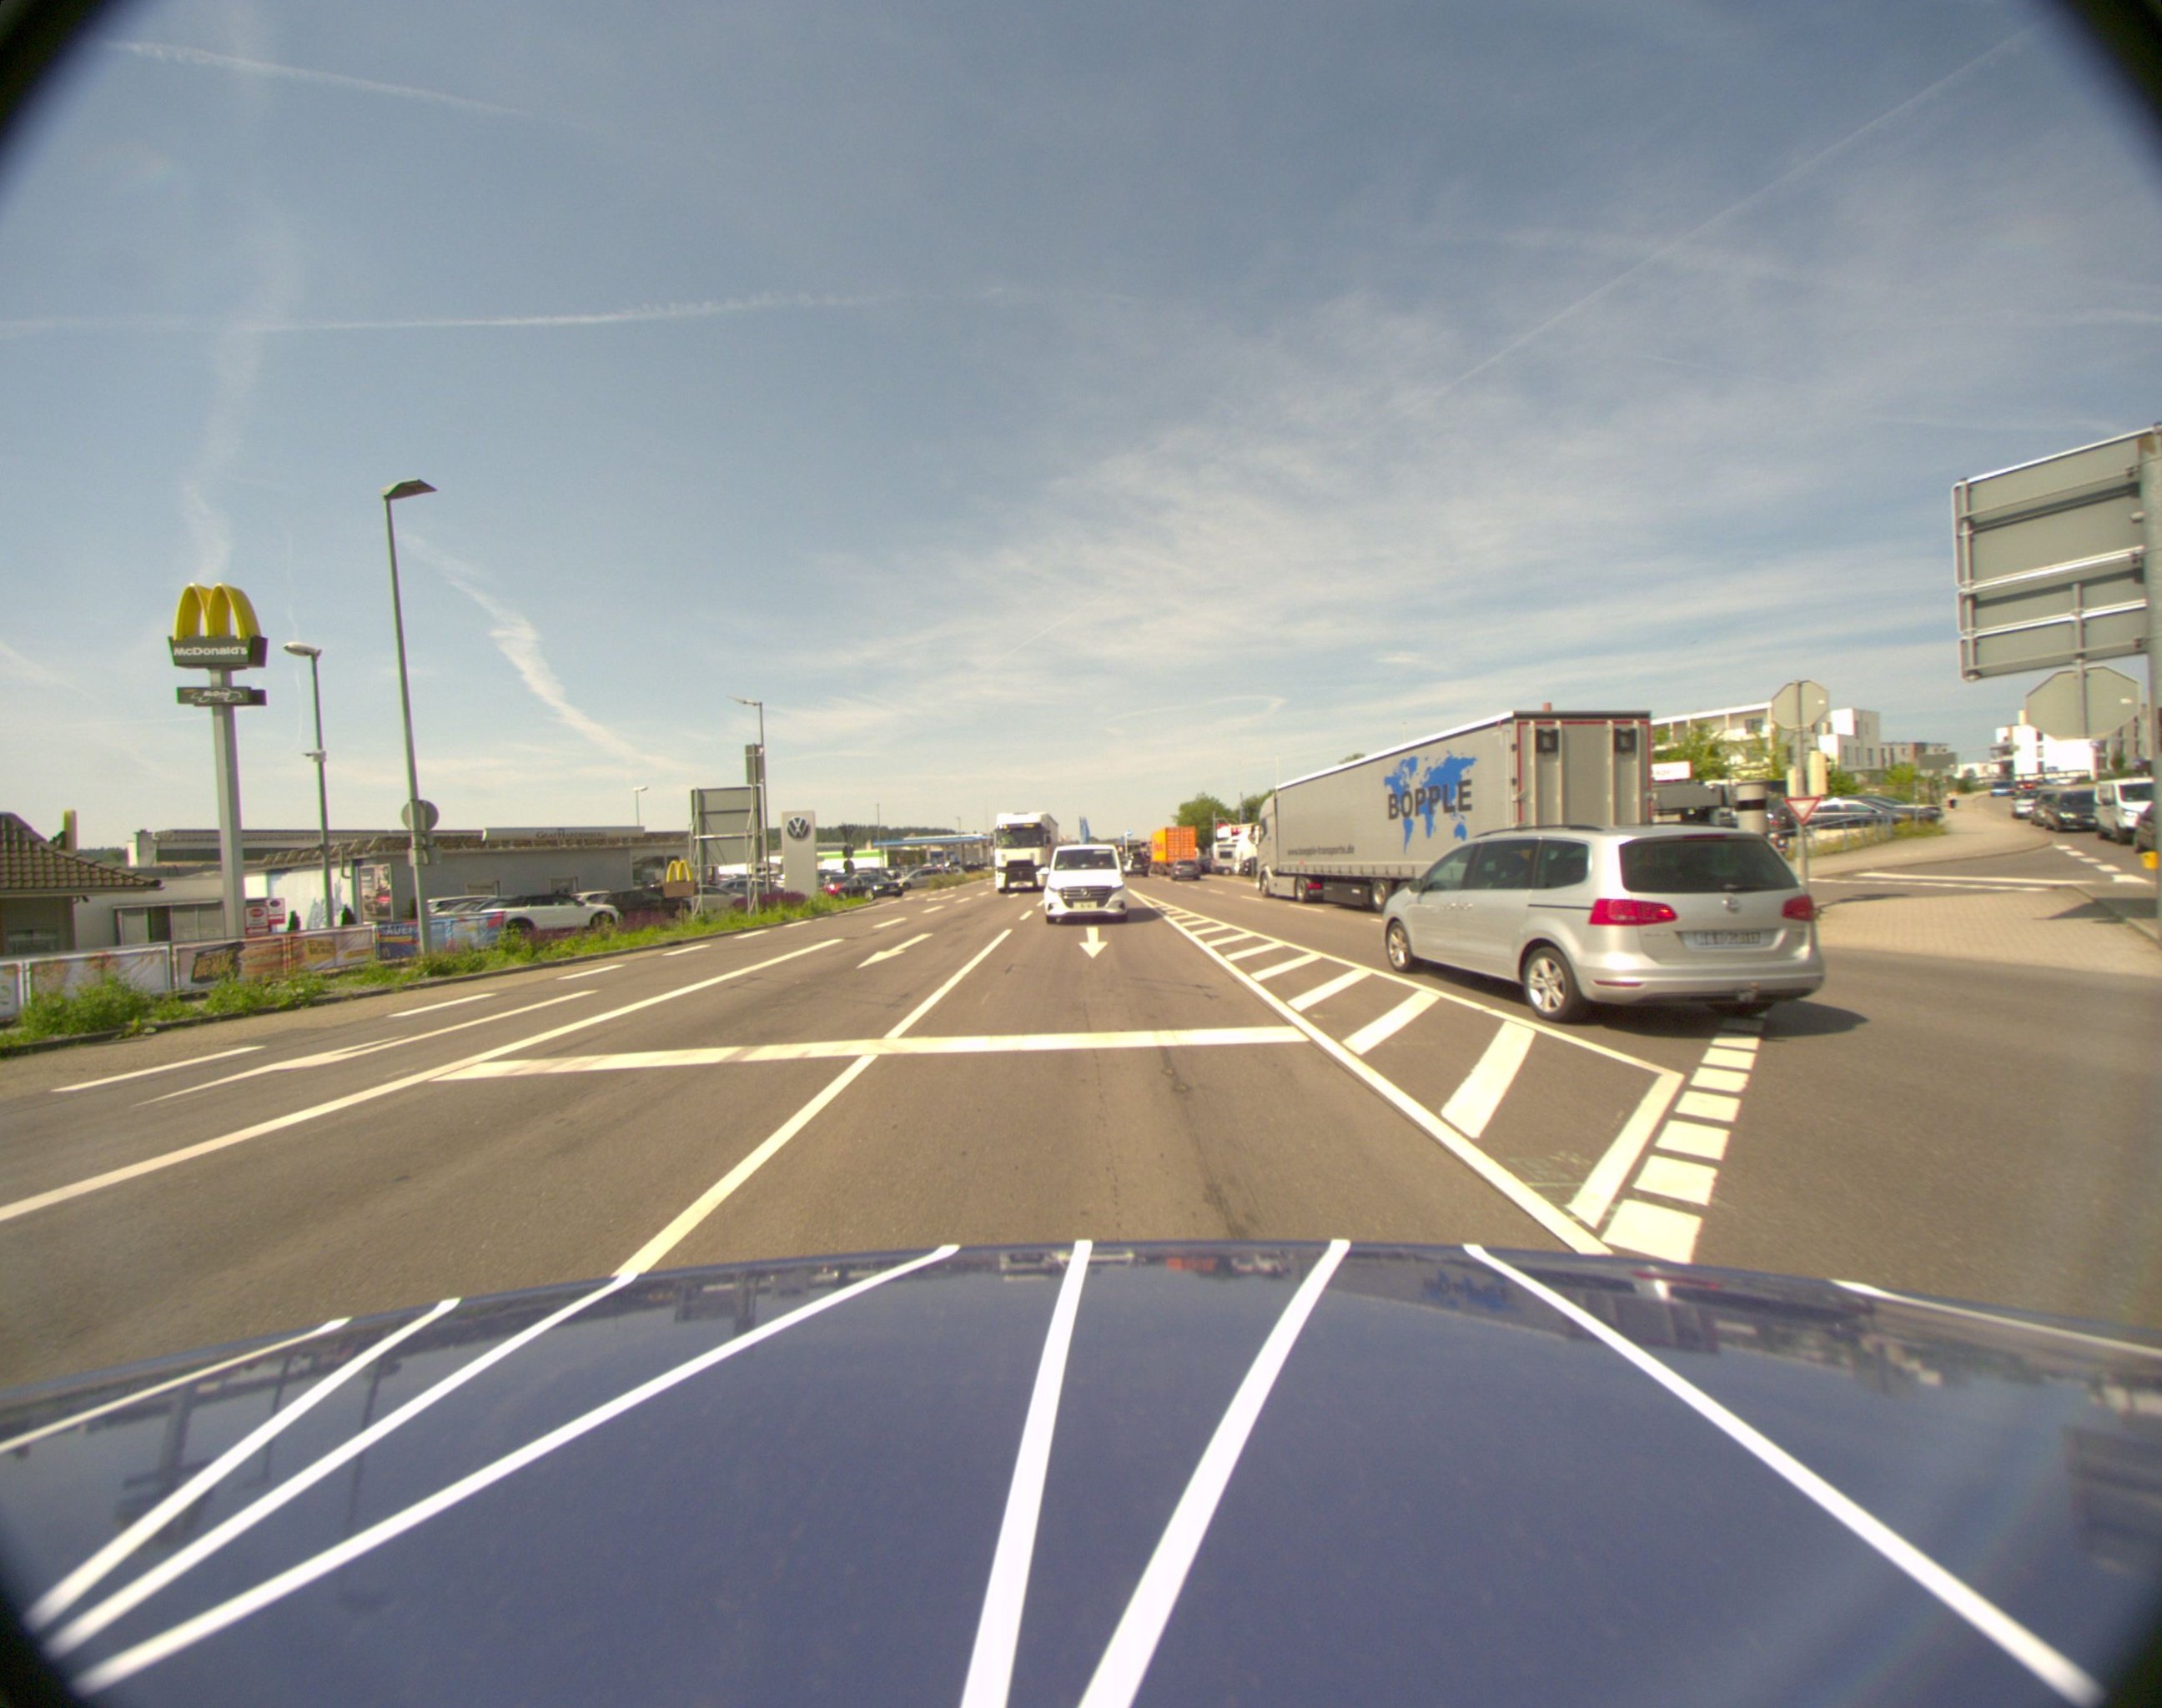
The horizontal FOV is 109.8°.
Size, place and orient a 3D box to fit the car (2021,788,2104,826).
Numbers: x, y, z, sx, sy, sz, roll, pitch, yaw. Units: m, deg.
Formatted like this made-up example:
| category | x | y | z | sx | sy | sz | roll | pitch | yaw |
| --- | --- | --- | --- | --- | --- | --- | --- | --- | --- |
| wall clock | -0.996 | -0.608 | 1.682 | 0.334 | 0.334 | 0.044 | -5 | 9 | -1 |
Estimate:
| category | x | y | z | sx | sy | sz | roll | pitch | yaw |
| --- | --- | --- | --- | --- | --- | --- | --- | --- | --- |
| car | 45.087 | -2.183 | 35.009 | 4.517 | 1.554 | 1.994 | -5 | 2 | -42 |

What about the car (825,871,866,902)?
| category | x | y | z | sx | sy | sz | roll | pitch | yaw |
| --- | --- | --- | --- | --- | --- | --- | --- | --- | --- |
| car | -14.247 | 1.918 | 45.813 | 1.778 | 1.645 | 4.069 | -4 | 1 | -24 |

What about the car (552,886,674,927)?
| category | x | y | z | sx | sy | sz | roll | pitch | yaw |
| --- | --- | --- | --- | --- | --- | --- | --- | --- | --- |
| car | -20.514 | 2.254 | 33.440 | 1.791 | 1.442 | 4.163 | -1 | 0 | 37 |

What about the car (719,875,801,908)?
| category | x | y | z | sx | sy | sz | roll | pitch | yaw |
| --- | --- | --- | --- | --- | --- | --- | --- | --- | --- |
| car | -18.011 | 2.066 | 42.660 | 4.031 | 1.661 | 1.772 | -2 | 0 | -29 |

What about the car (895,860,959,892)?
| category | x | y | z | sx | sy | sz | roll | pitch | yaw |
| --- | --- | --- | --- | --- | --- | --- | --- | --- | --- |
| car | -11.533 | 1.635 | 56.941 | 4.355 | 2.200 | 1.760 | -2 | 0 | -29 |

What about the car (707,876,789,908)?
| category | x | y | z | sx | sy | sz | roll | pitch | yaw |
| --- | --- | --- | --- | --- | --- | --- | --- | --- | --- |
| car | -19.477 | 2.186 | 44.512 | 4.007 | 1.661 | 1.916 | -2 | 0 | -36 |

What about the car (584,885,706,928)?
| category | x | y | z | sx | sy | sz | roll | pitch | yaw |
| --- | --- | --- | --- | --- | --- | --- | --- | --- | --- |
| car | -18.460 | 2.180 | 32.336 | 1.771 | 1.523 | 4.098 | -1 | 0 | 37 |

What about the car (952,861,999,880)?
| category | x | y | z | sx | sy | sz | roll | pitch | yaw |
| --- | --- | --- | --- | --- | --- | --- | --- | --- | --- |
| car | -9.984 | 1.591 | 72.282 | 4.006 | 1.645 | 1.772 | -2 | 0 | -32 |

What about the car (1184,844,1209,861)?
| category | x | y | z | sx | sy | sz | roll | pitch | yaw |
| --- | --- | --- | --- | --- | --- | --- | --- | --- | --- |
| car | 17.948 | -0.257 | 117.625 | 2.435 | 2.529 | 6.050 | -3 | 0 | 21 |

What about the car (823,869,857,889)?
| category | x | y | z | sx | sy | sz | roll | pitch | yaw |
| --- | --- | --- | --- | --- | --- | --- | --- | --- | --- |
| car | -22.864 | 2.339 | 72.196 | 1.968 | 1.644 | 4.537 | -2 | 0 | -3 |

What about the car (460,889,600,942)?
| category | x | y | z | sx | sy | sz | roll | pitch | yaw |
| --- | --- | --- | --- | --- | --- | --- | --- | --- | --- |
| car | -20.862 | 2.255 | 28.902 | 1.771 | 1.661 | 3.917 | -1 | 0 | 37 |

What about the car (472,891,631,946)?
| category | x | y | z | sx | sy | sz | roll | pitch | yaw |
| --- | --- | --- | --- | --- | --- | --- | --- | --- | --- |
| car | -18.823 | 2.212 | 27.173 | 1.856 | 1.567 | 4.242 | -1 | 0 | 37 |

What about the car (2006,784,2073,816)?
| category | x | y | z | sx | sy | sz | roll | pitch | yaw |
| --- | --- | --- | --- | --- | --- | --- | --- | --- | --- |
| car | 52.027 | -2.937 | 41.320 | 4.517 | 1.554 | 1.994 | -5 | 2 | -42 |

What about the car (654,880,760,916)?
| category | x | y | z | sx | sy | sz | roll | pitch | yaw |
| --- | --- | --- | --- | --- | --- | --- | --- | --- | --- |
| car | -18.139 | 2.080 | 37.019 | 1.744 | 1.483 | 4.273 | -1 | 0 | 37 |

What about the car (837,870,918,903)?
| category | x | y | z | sx | sy | sz | roll | pitch | yaw |
| --- | --- | --- | --- | --- | --- | --- | --- | --- | --- |
| car | -10.882 | 1.754 | 40.387 | 1.969 | 1.325 | 4.805 | -8 | 1 | -44 |

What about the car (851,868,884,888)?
| category | x | y | z | sx | sy | sz | roll | pitch | yaw |
| --- | --- | --- | --- | --- | --- | --- | --- | --- | --- |
| car | -20.272 | 2.248 | 72.383 | 1.908 | 1.644 | 4.709 | -2 | 0 | -3 |

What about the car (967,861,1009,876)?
| category | x | y | z | sx | sy | sz | roll | pitch | yaw |
| --- | --- | --- | --- | --- | --- | --- | --- | --- | --- |
| car | -10.998 | 1.675 | 90.012 | 4.543 | 1.645 | 1.772 | -2 | 0 | -25 |

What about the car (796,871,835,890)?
| category | x | y | z | sx | sy | sz | roll | pitch | yaw |
| --- | --- | --- | --- | --- | --- | --- | --- | --- | --- |
| car | -25.796 | 2.556 | 73.979 | 1.774 | 1.644 | 4.540 | -2 | 0 | 6 |

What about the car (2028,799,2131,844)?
| category | x | y | z | sx | sy | sz | roll | pitch | yaw |
| --- | --- | --- | --- | --- | --- | --- | --- | --- | --- |
| car | 39.323 | -1.315 | 30.035 | 4.517 | 1.554 | 1.994 | -5 | 2 | -43 |

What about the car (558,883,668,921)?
| category | x | y | z | sx | sy | sz | roll | pitch | yaw |
| --- | --- | --- | --- | --- | --- | --- | --- | --- | --- |
| car | -21.717 | 2.178 | 35.397 | 1.771 | 1.509 | 3.968 | -1 | 0 | 37 |

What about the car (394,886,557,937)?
| category | x | y | z | sx | sy | sz | roll | pitch | yaw |
| --- | --- | --- | --- | --- | --- | --- | --- | --- | --- |
| car | -24.595 | 2.256 | 31.052 | 1.907 | 1.661 | 4.828 | -1 | 0 | 37 |

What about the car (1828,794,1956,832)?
| category | x | y | z | sx | sy | sz | roll | pitch | yaw |
| --- | --- | --- | --- | --- | --- | --- | --- | --- | --- |
| car | 38.504 | -1.920 | 36.147 | 2.003 | 1.554 | 4.060 | -5 | 2 | -42 |

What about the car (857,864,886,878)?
| category | x | y | z | sx | sy | sz | roll | pitch | yaw |
| --- | --- | --- | --- | --- | --- | --- | --- | --- | --- |
| car | -26.807 | 2.118 | 97.420 | 1.773 | 1.644 | 4.541 | -2 | 0 | 10 |

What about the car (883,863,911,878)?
| category | x | y | z | sx | sy | sz | roll | pitch | yaw |
| --- | --- | --- | --- | --- | --- | --- | --- | --- | --- |
| car | -22.068 | 1.983 | 91.227 | 1.774 | 1.644 | 4.540 | -2 | 0 | 6 |

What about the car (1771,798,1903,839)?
| category | x | y | z | sx | sy | sz | roll | pitch | yaw |
| --- | --- | --- | --- | --- | --- | --- | --- | --- | --- |
| car | 33.634 | -1.568 | 33.869 | 2.003 | 1.554 | 4.060 | -5 | 2 | -42 |

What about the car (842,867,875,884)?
| category | x | y | z | sx | sy | sz | roll | pitch | yaw |
| --- | --- | --- | --- | --- | --- | --- | --- | --- | --- |
| car | -22.936 | 2.210 | 78.359 | 1.774 | 1.644 | 4.435 | -2 | 0 | 4 |

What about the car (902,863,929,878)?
| category | x | y | z | sx | sy | sz | roll | pitch | yaw |
| --- | --- | --- | --- | --- | --- | --- | --- | --- | --- |
| car | -19.674 | 1.916 | 90.571 | 1.774 | 1.644 | 4.540 | -2 | 0 | 6 |

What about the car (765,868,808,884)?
| category | x | y | z | sx | sy | sz | roll | pitch | yaw |
| --- | --- | --- | --- | --- | --- | --- | --- | --- | --- |
| car | -32.548 | 2.379 | 84.108 | 1.819 | 1.574 | 4.545 | -1 | 0 | 23 |

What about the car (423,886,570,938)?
| category | x | y | z | sx | sy | sz | roll | pitch | yaw |
| --- | --- | --- | --- | --- | --- | --- | --- | --- | --- |
| car | -22.775 | 2.205 | 29.750 | 1.771 | 1.661 | 4.178 | -1 | 0 | 37 |

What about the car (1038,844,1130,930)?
| category | x | y | z | sx | sy | sz | roll | pitch | yaw |
| --- | --- | --- | --- | --- | --- | --- | --- | --- | --- |
| car | 0.123 | 0.738 | 19.800 | 1.993 | 1.858 | 5.803 | -2 | 0 | 1 |
